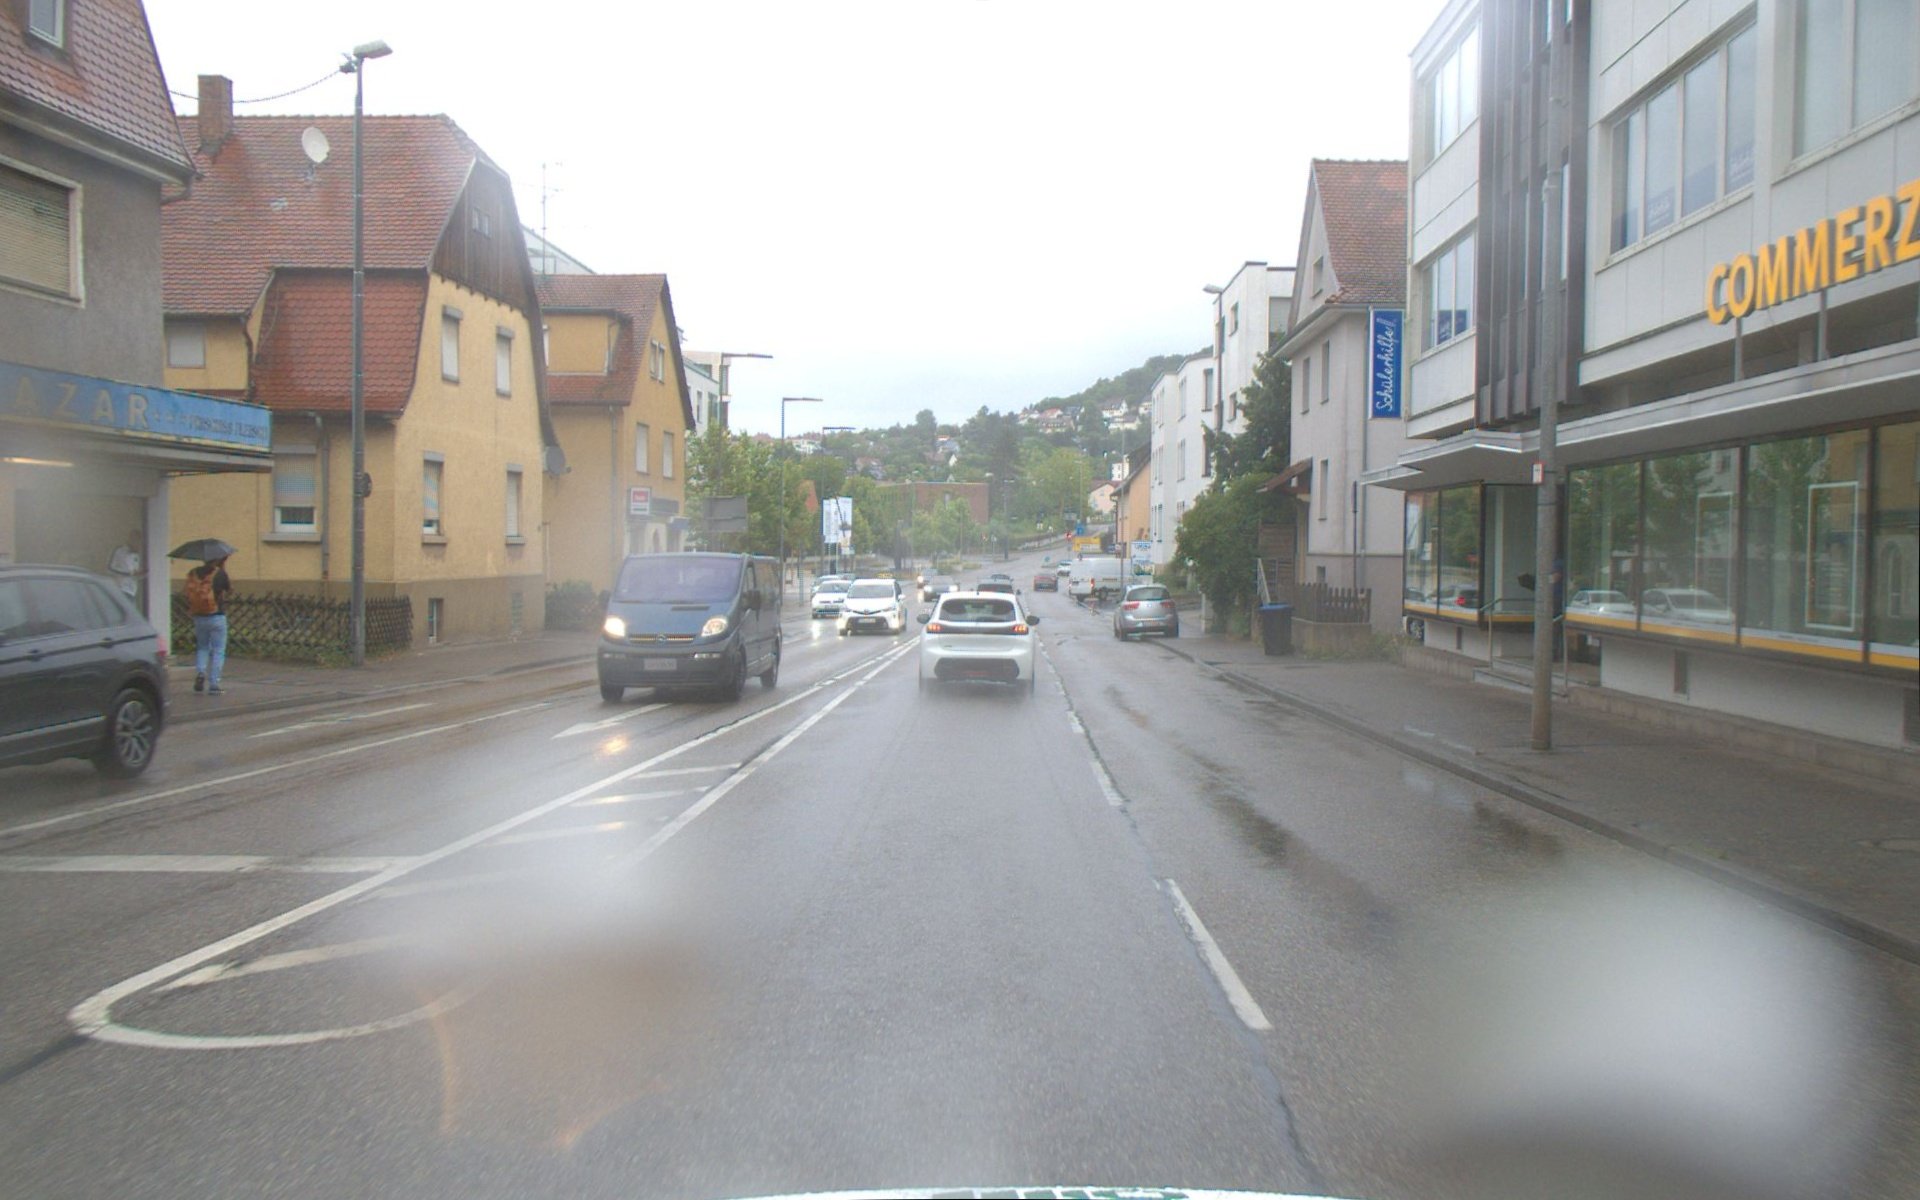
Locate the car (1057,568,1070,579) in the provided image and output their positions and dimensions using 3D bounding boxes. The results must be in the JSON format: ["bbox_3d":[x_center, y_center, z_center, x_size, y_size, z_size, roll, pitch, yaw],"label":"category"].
[{"bbox_3d":[11.148,-2.830,178.472,1.356,1.146,2.611,0,0,2],"label":"car"}]

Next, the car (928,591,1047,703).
[{"bbox_3d":[0.401,0.676,25.033,1.656,1.546,3.933,0,-1,0],"label":"car"}]

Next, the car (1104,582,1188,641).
[{"bbox_3d":[5.525,0.376,49.626,1.970,1.650,4.360,1,-1,0],"label":"car"}]

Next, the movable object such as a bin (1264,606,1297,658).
[{"bbox_3d":[6.979,0.692,36.051,0.564,1.066,0.831,-1,2,1],"label":"movable object such as a bin"}]

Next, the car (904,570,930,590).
[{"bbox_3d":[-3.483,-1.590,133.778,1.841,1.550,4.185,0,0,2],"label":"car"}]

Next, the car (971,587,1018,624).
[{"bbox_3d":[1.290,0.198,61.471,1.705,1.318,3.335,0,1,1],"label":"car"}]

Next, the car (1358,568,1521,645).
[{"bbox_3d":[10.283,0.134,35.628,1.338,1.528,3.304,-3,1,-32],"label":"car"}]

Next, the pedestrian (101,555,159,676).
[{"bbox_3d":[-11.045,0.207,22.012,0.532,1.585,0.446,0,0,2],"label":"pedestrian"}]

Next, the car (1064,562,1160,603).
[{"bbox_3d":[9.295,-1.023,100.558,2.258,2.424,6.582,-1,-1,43],"label":"car"}]

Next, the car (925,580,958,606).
[{"bbox_3d":[-1.047,-0.397,94.918,1.731,1.438,4.526,0,0,1],"label":"car"}]

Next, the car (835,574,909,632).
[{"bbox_3d":[-2.571,0.102,49.276,1.839,1.637,4.719,0,0,1],"label":"car"}]

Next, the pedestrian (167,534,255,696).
[{"bbox_3d":[-9.357,0.187,20.681,0.648,1.955,0.945,2,-1,-6],"label":"pedestrian"}]

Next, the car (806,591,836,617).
[{"bbox_3d":[-7.335,0.216,87.171,1.342,1.337,3.041,0,0,0],"label":"car"}]

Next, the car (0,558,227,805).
[{"bbox_3d":[-7.330,0.547,11.462,1.959,1.646,4.951,0,0,5],"label":"car"}]

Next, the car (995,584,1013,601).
[{"bbox_3d":[3.164,-0.507,119.006,1.188,1.176,2.270,0,-1,0],"label":"car"}]

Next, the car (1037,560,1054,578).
[{"bbox_3d":[10.388,-3.734,200.456,1.952,2.049,4.001,0,0,2],"label":"car"}]

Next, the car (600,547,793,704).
[{"bbox_3d":[-3.562,0.339,23.299,1.925,1.972,5.179,0,0,0],"label":"car"}]

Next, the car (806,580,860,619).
[{"bbox_3d":[-5.098,-0.008,66.733,1.615,1.442,4.140,-2,-1,2],"label":"car"}]

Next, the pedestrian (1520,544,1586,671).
[{"bbox_3d":[8.715,0.096,24.343,0.714,1.811,0.954,1,1,9],"label":"pedestrian"}]

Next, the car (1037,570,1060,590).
[{"bbox_3d":[7.065,-1.608,132.333,1.698,1.411,3.354,1,4,1],"label":"car"}]
